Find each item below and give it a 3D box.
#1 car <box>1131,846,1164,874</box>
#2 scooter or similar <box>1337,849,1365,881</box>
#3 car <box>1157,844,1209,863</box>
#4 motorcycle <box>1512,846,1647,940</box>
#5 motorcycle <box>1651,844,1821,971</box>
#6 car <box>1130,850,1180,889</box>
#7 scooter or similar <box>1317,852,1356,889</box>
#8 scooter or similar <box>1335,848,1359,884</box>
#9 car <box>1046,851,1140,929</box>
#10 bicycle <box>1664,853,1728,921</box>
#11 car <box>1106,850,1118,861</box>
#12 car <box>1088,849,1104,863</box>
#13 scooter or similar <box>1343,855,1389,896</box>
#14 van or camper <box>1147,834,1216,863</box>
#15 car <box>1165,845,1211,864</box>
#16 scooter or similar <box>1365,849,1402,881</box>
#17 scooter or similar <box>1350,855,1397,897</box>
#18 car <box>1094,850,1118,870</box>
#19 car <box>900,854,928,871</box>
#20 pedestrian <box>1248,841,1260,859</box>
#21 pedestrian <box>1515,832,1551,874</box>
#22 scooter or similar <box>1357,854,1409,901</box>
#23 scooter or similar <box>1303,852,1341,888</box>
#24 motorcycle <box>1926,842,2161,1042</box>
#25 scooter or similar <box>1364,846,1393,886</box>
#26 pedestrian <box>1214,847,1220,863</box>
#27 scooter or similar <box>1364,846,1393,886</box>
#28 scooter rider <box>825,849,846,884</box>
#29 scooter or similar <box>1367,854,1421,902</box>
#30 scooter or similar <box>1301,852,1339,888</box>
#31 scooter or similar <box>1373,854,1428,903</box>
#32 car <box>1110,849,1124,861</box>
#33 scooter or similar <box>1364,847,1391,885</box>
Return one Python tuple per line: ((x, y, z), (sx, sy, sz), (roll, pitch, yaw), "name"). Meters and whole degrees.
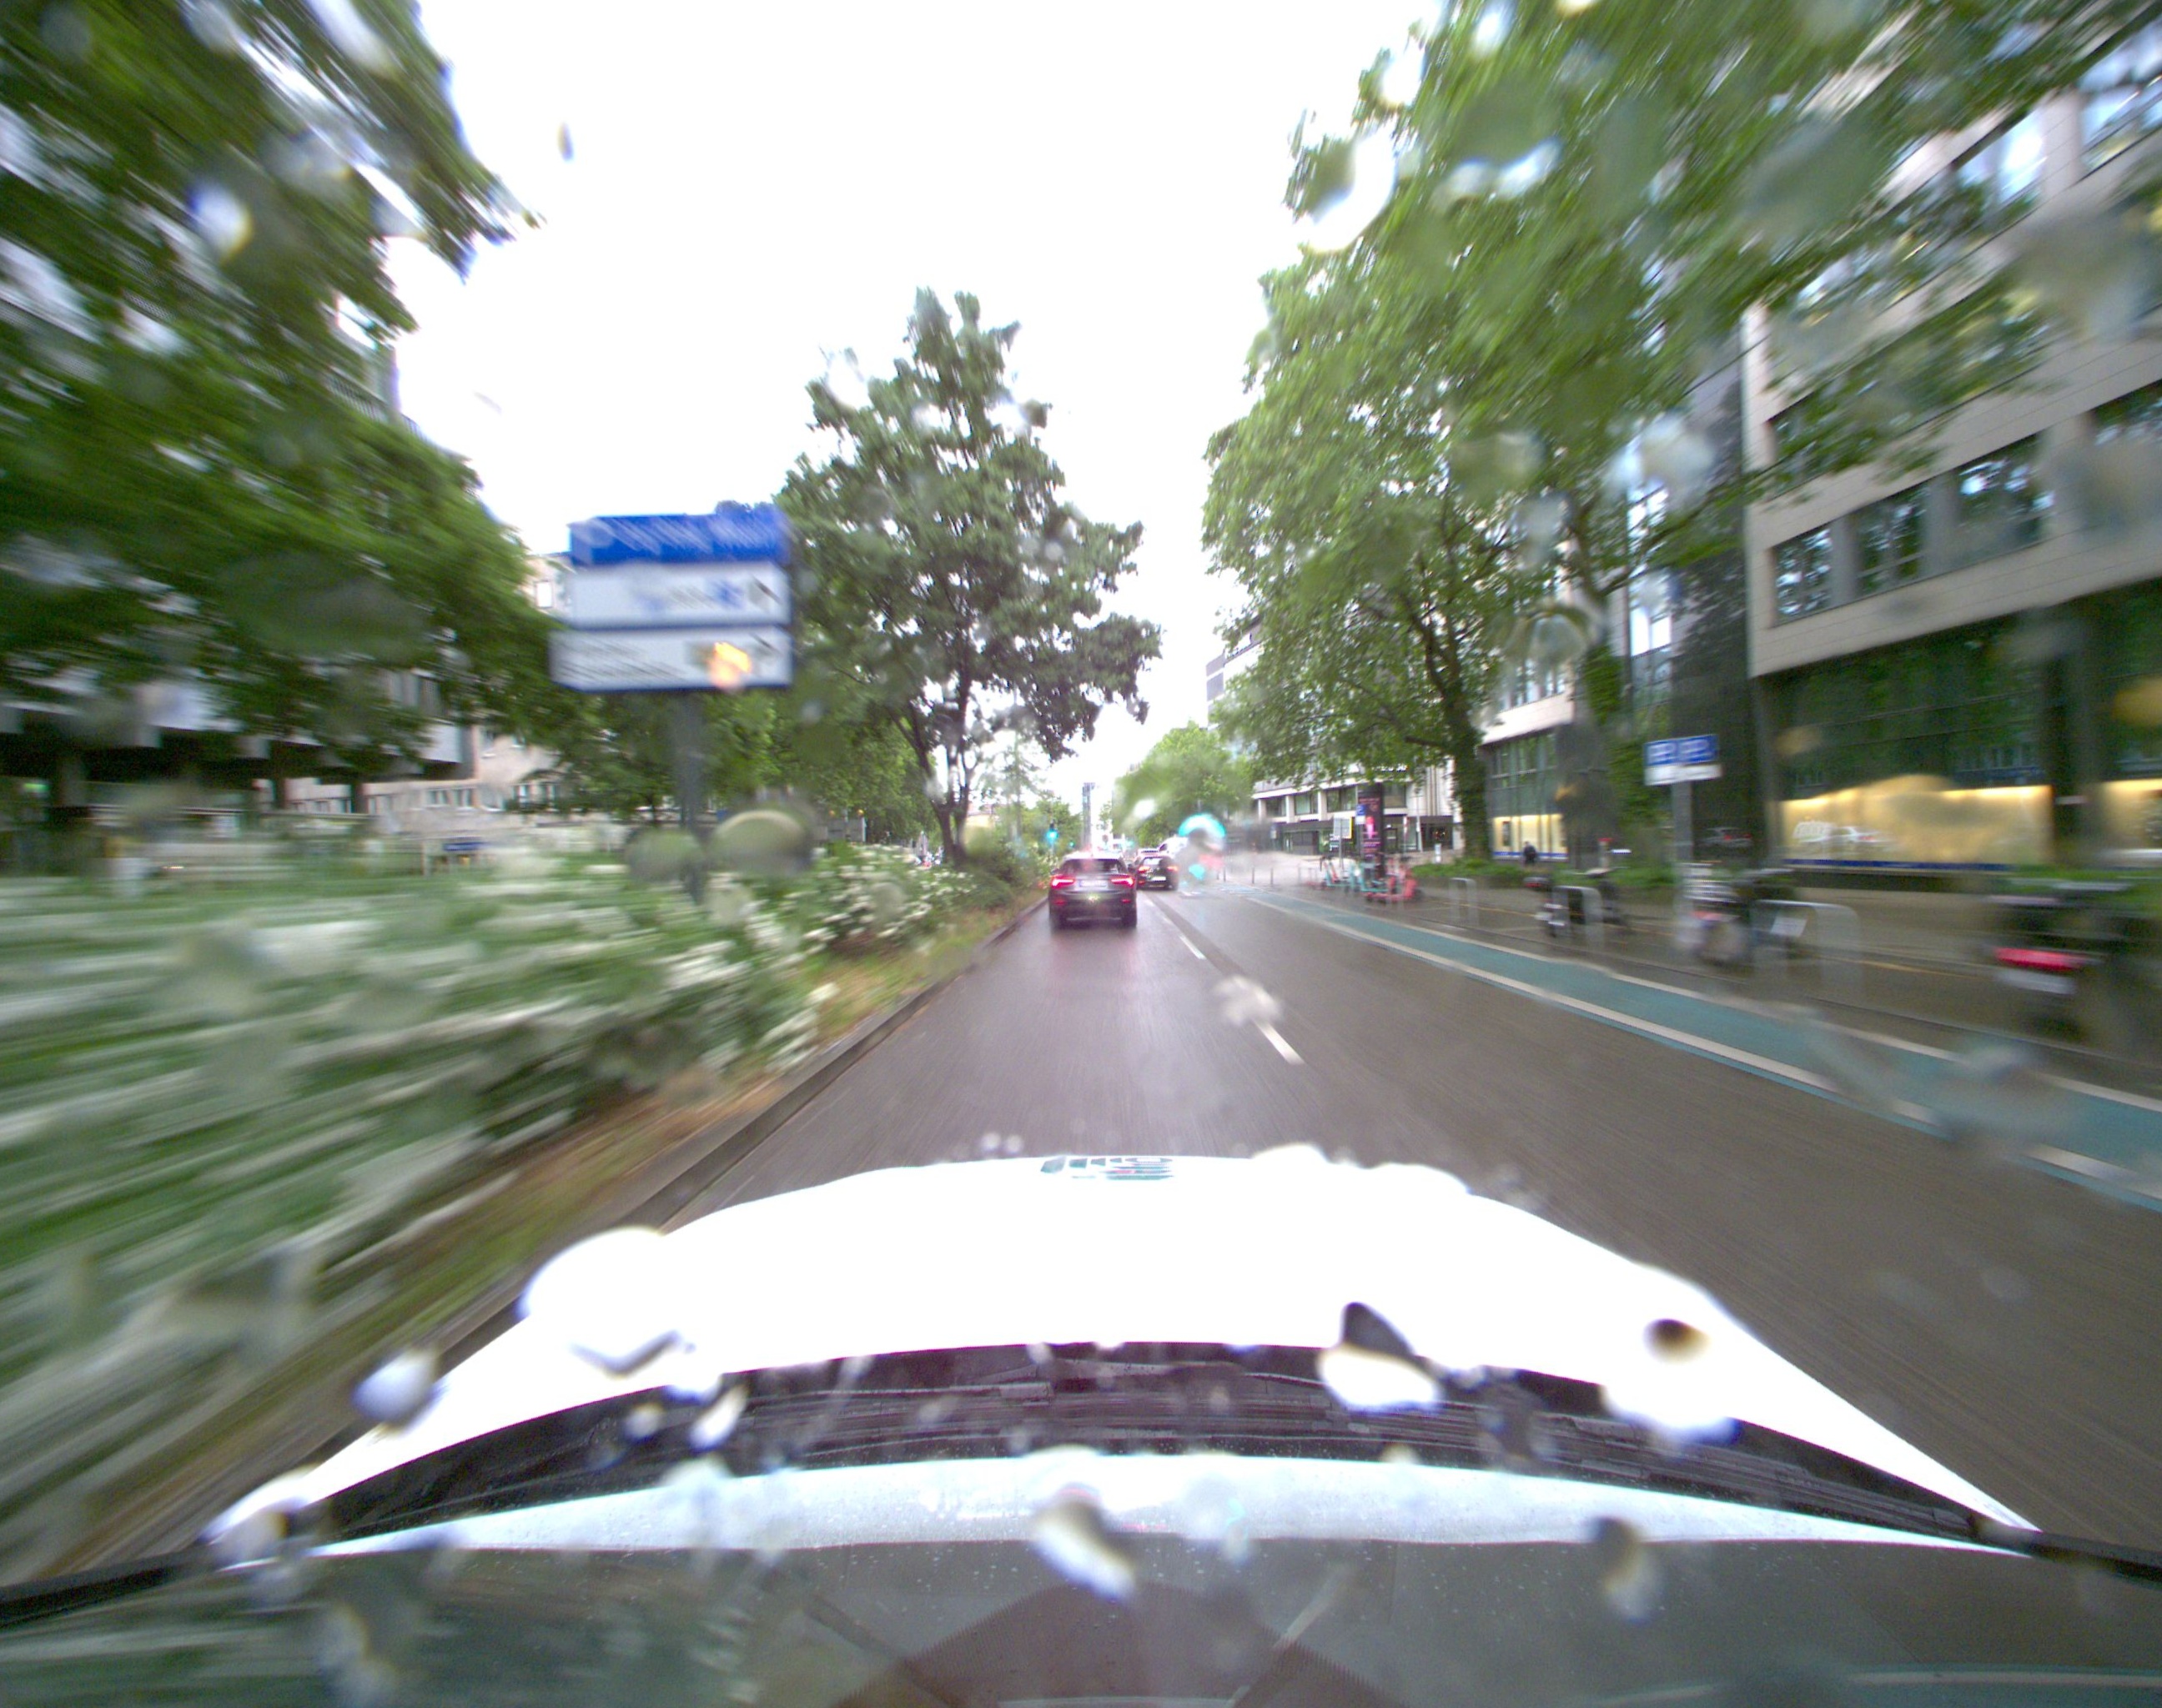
((4.192, 0.379, 51.653), (1.843, 1.669, 4.040), (-1, 0, 1), "car")
((10.413, 0.428, 31.429), (0.487, 1.198, 1.290), (-1, -1, -8), "scooter or similar")
((9.173, -0.022, 73.380), (4.217, 1.667, 1.829), (-1, 0, 27), "car")
((8.198, 0.607, 13.409), (1.959, 1.373, 0.725), (-3, 2, -15), "motorcycle")
((8.155, 0.616, 10.142), (1.962, 1.373, 0.724), (-3, 2, -20), "motorcycle")
((3.065, 0.612, 34.396), (1.843, 1.523, 4.040), (-1, 0, 1), "car")
((9.233, 0.585, 29.448), (1.280, 1.259, 0.491), (-2, 2, 13), "scooter or similar")
((9.986, 0.425, 30.580), (0.486, 1.259, 1.294), (-3, 2, 2), "scooter or similar")
((0.269, 0.711, 18.210), (1.843, 1.523, 4.039), (-1, 0, 1), "car")
((10.260, 0.519, 13.638), (0.631, 1.028, 1.774), (-1, 0, 30), "bicycle")
((4.648, 0.190, 122.567), (1.843, 1.523, 4.040), (-1, 0, 1), "car")
((1.793, 0.230, 96.071), (1.843, 1.523, 4.040), (-1, 0, 1), "car")
((9.269, 0.696, 26.508), (1.284, 1.235, 0.490), (-3, 1, 3), "scooter or similar")
((9.448, -0.495, 76.655), (6.008, 2.558, 2.117), (-2, 0, 28), "van or camper")
((9.298, 0.047, 70.618), (3.618, 1.547, 1.723), (-1, 0, 20), "car")
((11.573, 0.412, 31.185), (0.490, 1.198, 1.281), (-1, -1, -29), "scooter or similar")
((9.250, 0.689, 25.763), (1.284, 1.235, 0.490), (-3, 1, 3), "scooter or similar")
((2.077, 0.476, 67.666), (1.843, 1.523, 4.040), (-1, 0, 1), "car")
((-16.362, 0.841, 80.111), (1.763, 1.434, 4.669), (-5, 0, -2), "car")
((16.645, -0.345, 78.309), (0.804, 1.696, 1.185), (-1, 0, -4), "pedestrian")
((19.999, -0.033, 36.068), (0.914, 1.850, 1.277), (-1, -1, 2), "pedestrian")
((8.767, 0.675, 23.633), (1.289, 1.278, 0.535), (-3, 2, -10), "scooter or similar")
((8.875, 0.594, 29.987), (1.280, 1.259, 0.491), (-2, 2, 13), "scooter or similar")
((7.982, 0.639, 6.674), (1.962, 1.373, 0.724), (-3, 2, -20), "motorcycle")
((10.095, 0.397, 27.640), (0.486, 1.259, 1.294), (-3, 2, 2), "scooter or similar")
((15.878, 0.103, 95.045), (0.551, 1.805, 0.761), (-1, -1, -2), "pedestrian")
((10.095, 0.397, 27.640), (0.486, 1.259, 1.294), (-3, 2, 2), "scooter or similar")
((-13.663, 0.675, 45.394), (0.897, 1.940, 0.757), (-1, 0, -2), "scooter rider")
((8.821, 0.669, 22.947), (1.283, 1.278, 0.538), (-3, 1, 5), "scooter or similar")
((8.968, 0.598, 30.597), (1.280, 1.259, 0.491), (-2, 2, 13), "scooter or similar")
((8.825, 0.664, 22.503), (1.283, 1.278, 0.538), (-3, 1, 5), "scooter or similar")
((4.757, 0.102, 107.834), (1.843, 1.523, 4.040), (-1, 0, 1), "car")
((10.508, 0.403, 28.865), (0.486, 1.259, 1.294), (-3, 2, 2), "scooter or similar")
